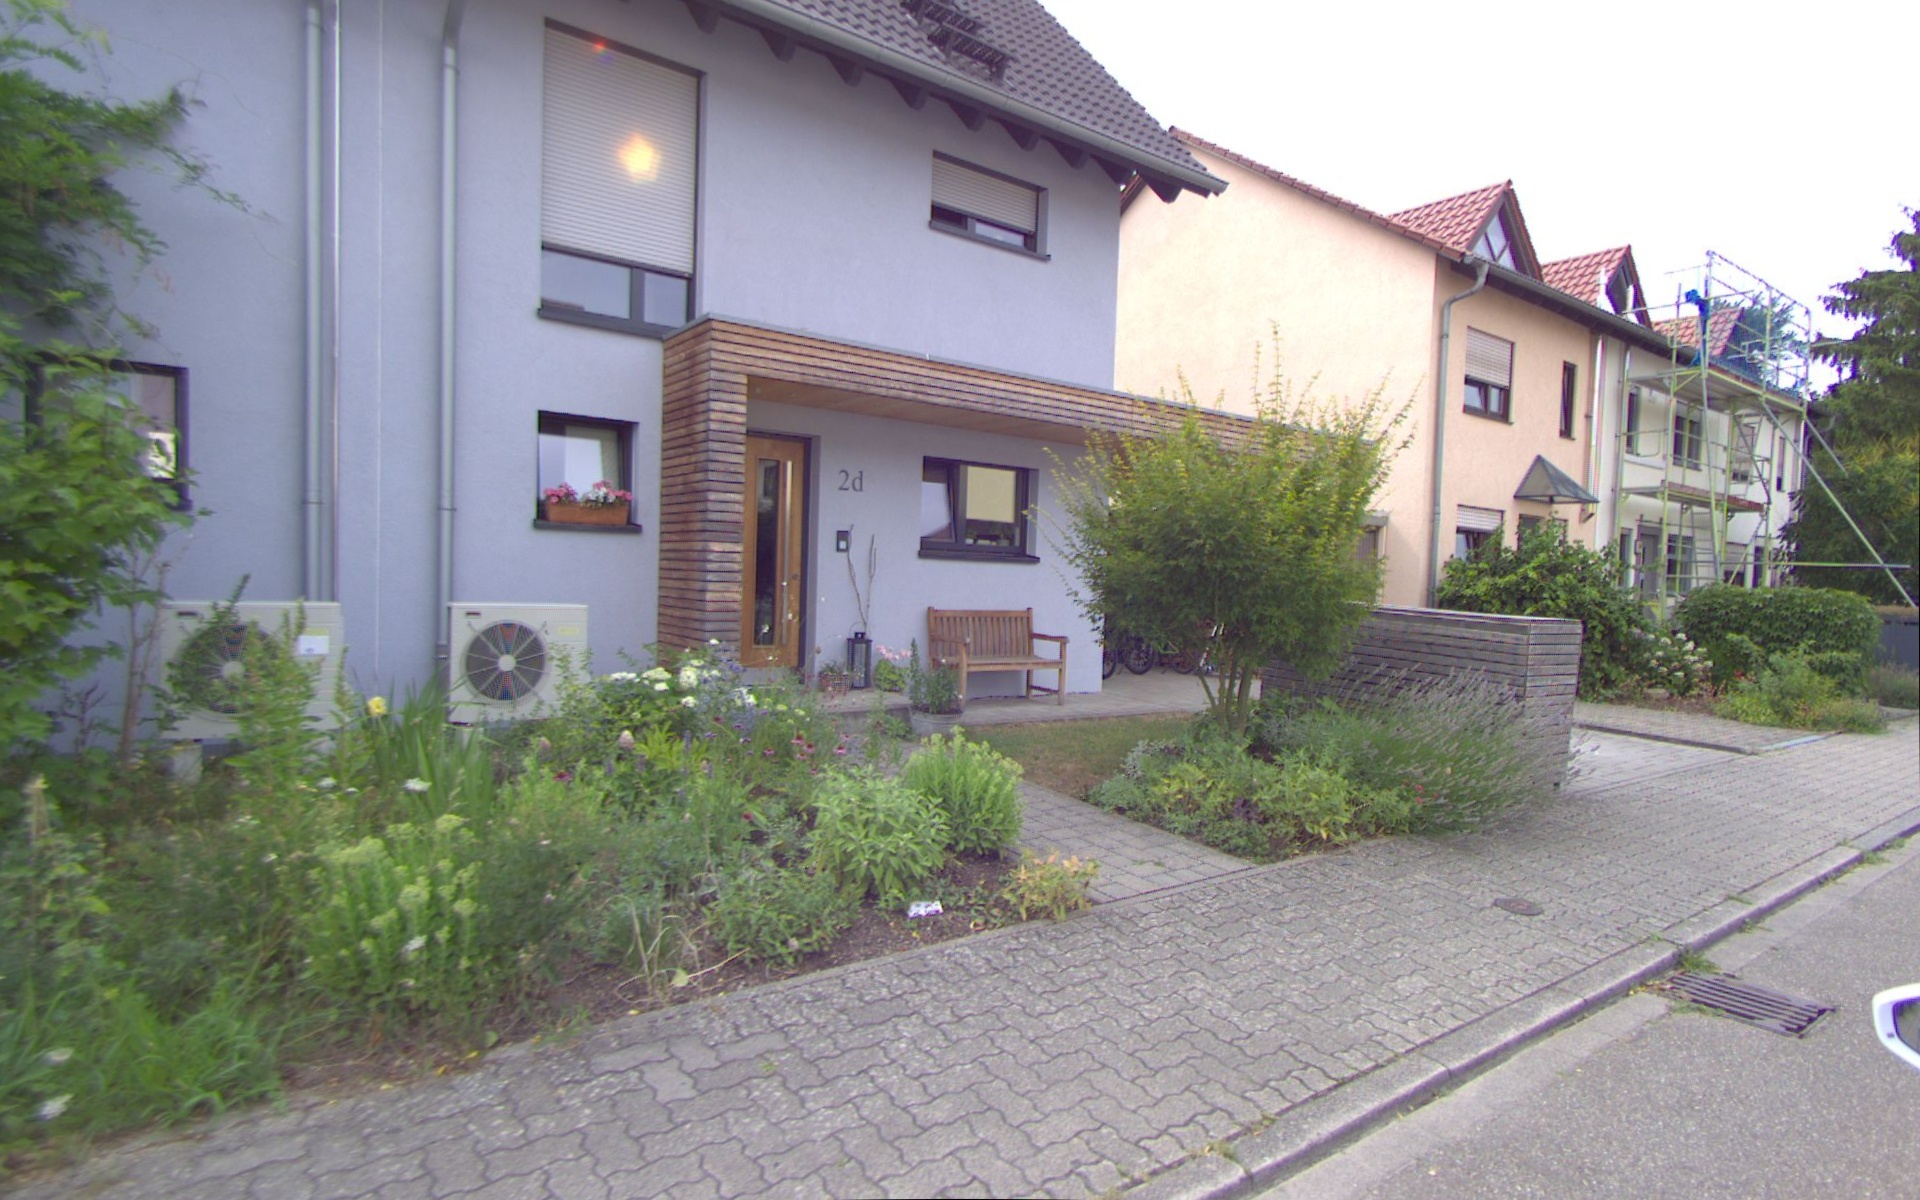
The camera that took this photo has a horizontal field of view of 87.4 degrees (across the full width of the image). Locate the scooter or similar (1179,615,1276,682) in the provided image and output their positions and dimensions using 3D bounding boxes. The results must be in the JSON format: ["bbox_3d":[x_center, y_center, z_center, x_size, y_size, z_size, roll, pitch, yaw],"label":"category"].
[{"bbox_3d":[3.506,0.621,13.252,0.359,0.808,1.293,0,1,-36],"label":"scooter or similar"}]

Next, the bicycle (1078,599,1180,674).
[{"bbox_3d":[2.377,0.486,14.353,0.352,0.965,1.923,1,1,-26],"label":"bicycle"}]

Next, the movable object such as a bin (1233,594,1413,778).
[{"bbox_3d":[2.884,0.631,8.010,0.991,1.330,0.943,1,1,-37],"label":"movable object such as a bin"}]

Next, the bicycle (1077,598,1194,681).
[{"bbox_3d":[2.306,0.496,13.450,0.353,0.965,1.920,1,2,-31],"label":"bicycle"}]

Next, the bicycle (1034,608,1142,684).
[{"bbox_3d":[1.606,0.559,12.910,0.352,0.860,1.923,1,1,-26],"label":"bicycle"}]
